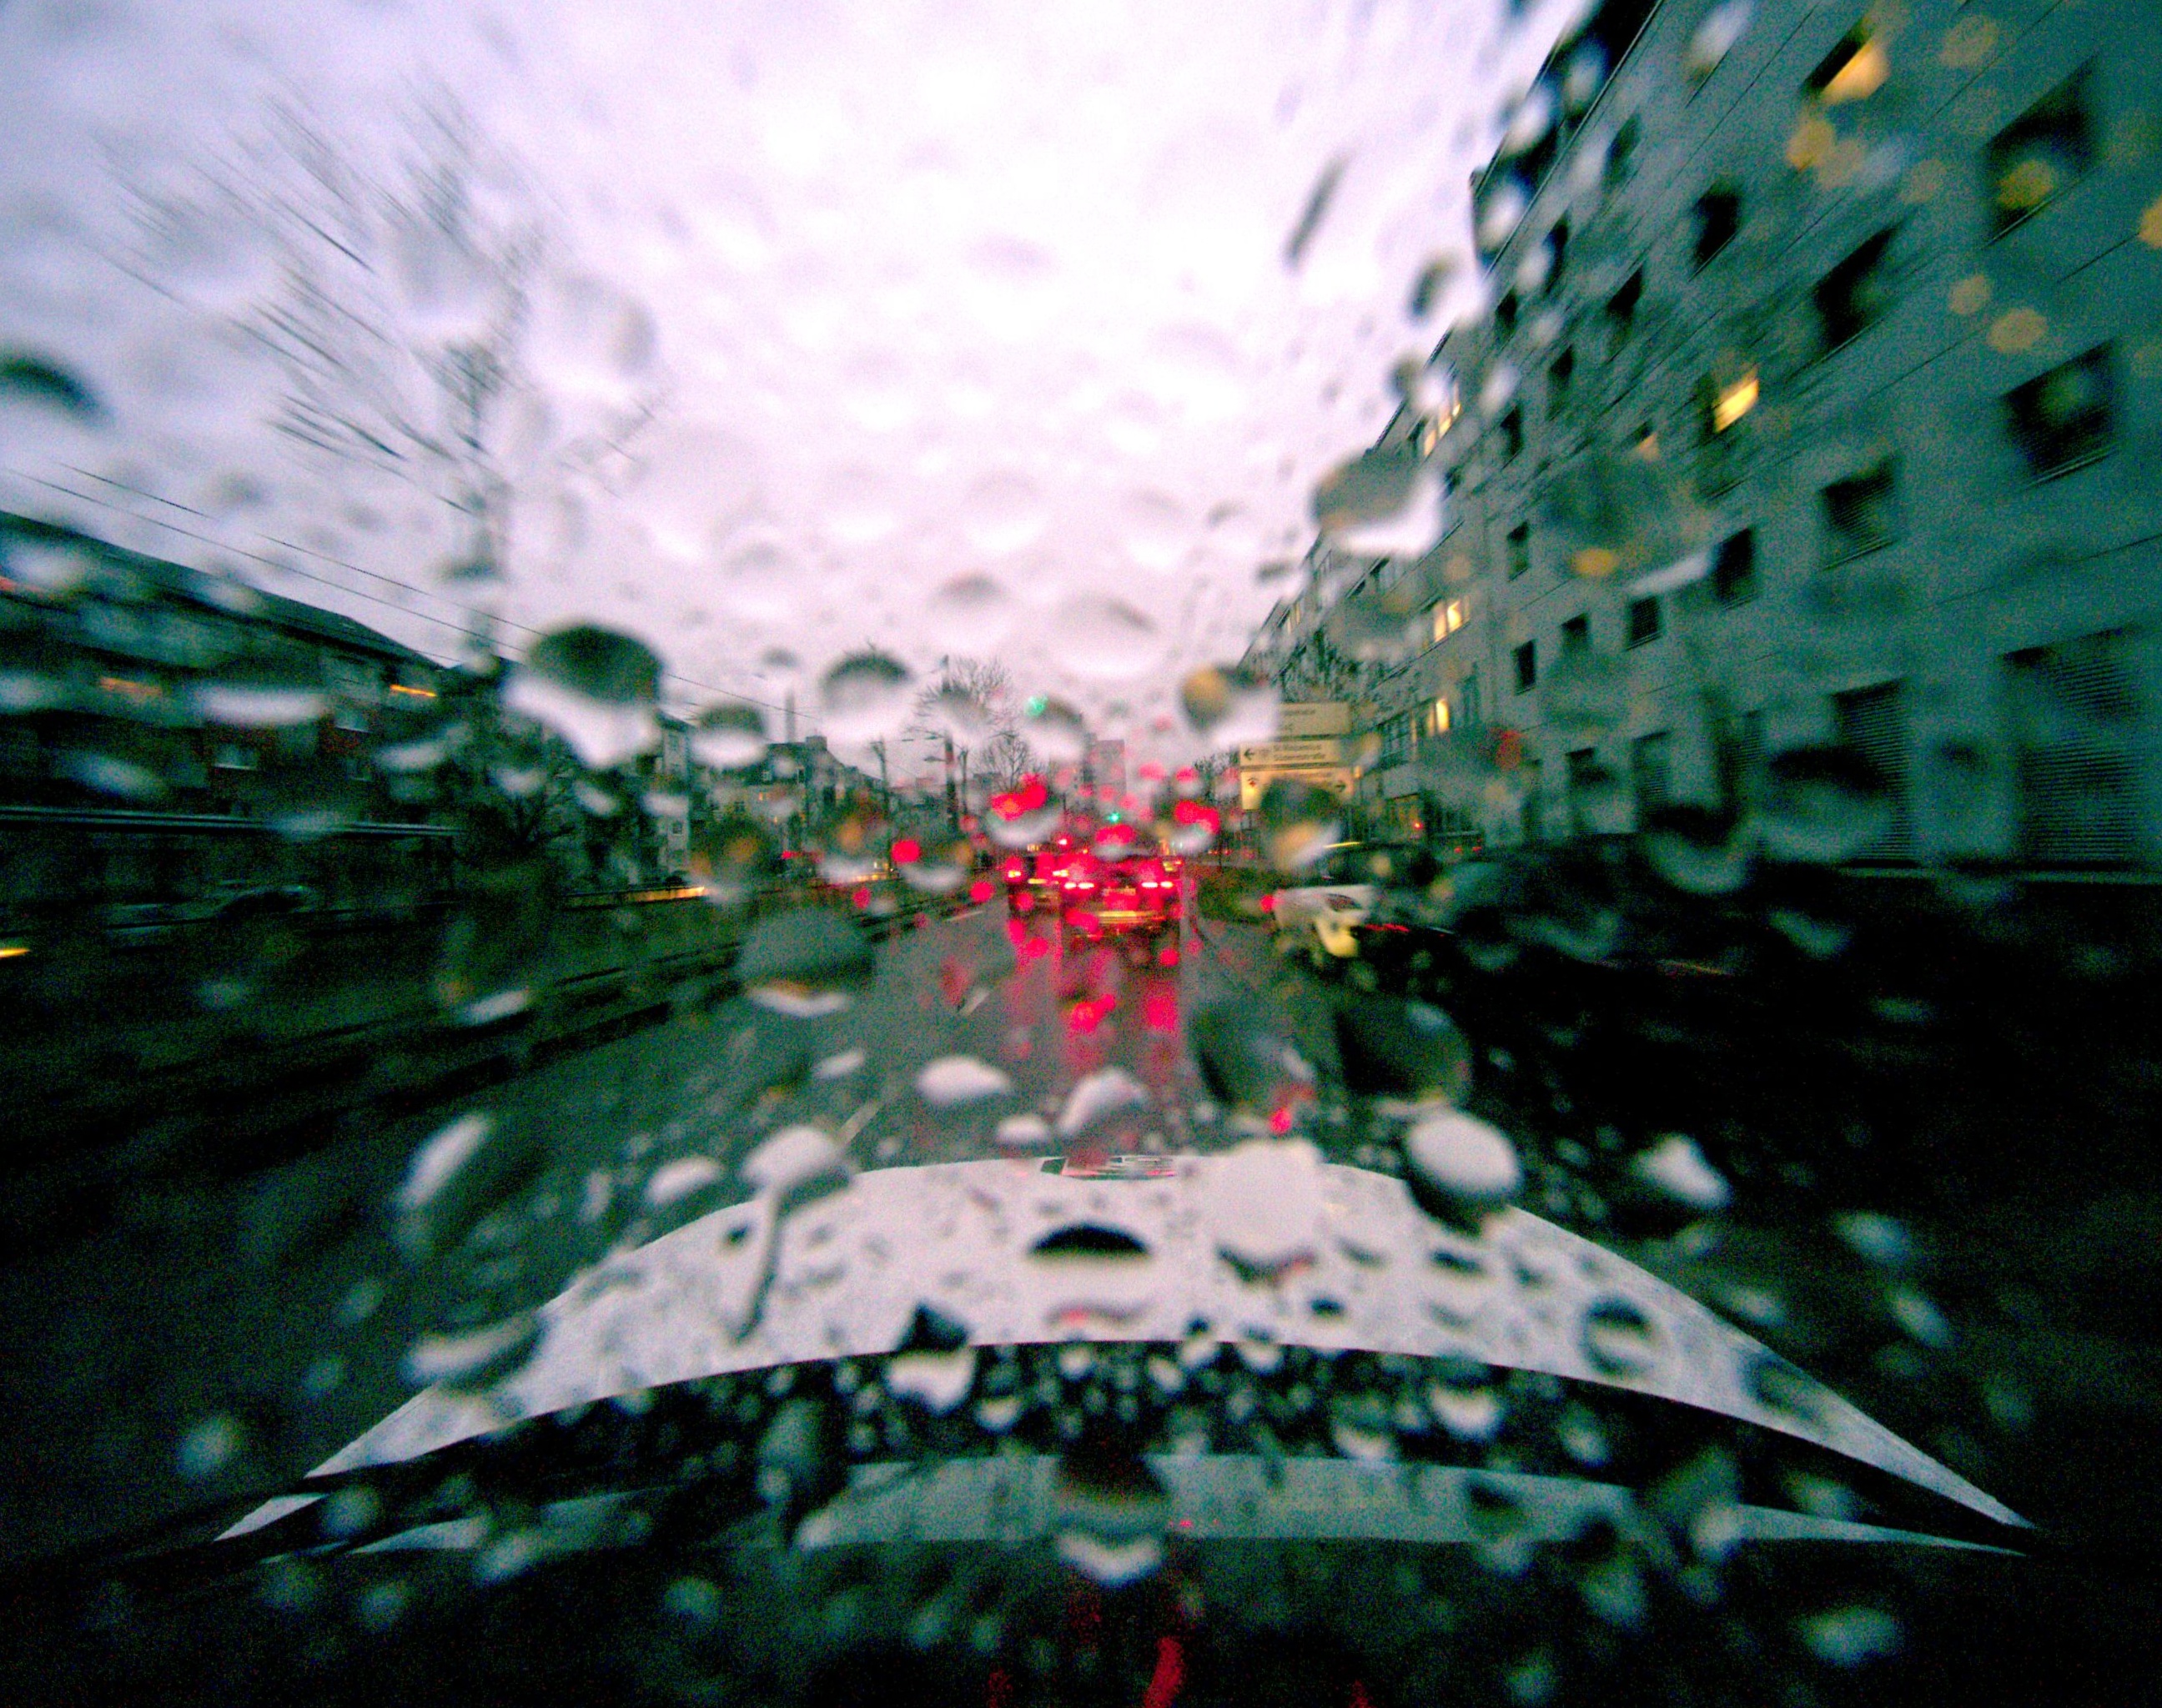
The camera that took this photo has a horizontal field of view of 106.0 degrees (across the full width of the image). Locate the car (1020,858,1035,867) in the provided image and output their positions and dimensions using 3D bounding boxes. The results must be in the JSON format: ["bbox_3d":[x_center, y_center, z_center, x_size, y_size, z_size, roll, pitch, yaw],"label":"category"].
[{"bbox_3d":[-8.417,1.364,129.215,1.750,1.497,3.765,-1,-1,6],"label":"car"}]

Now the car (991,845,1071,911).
[{"bbox_3d":[-1.370,0.683,24.006,1.986,1.712,4.325,-1,-1,1],"label":"car"}]

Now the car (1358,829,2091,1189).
[{"bbox_3d":[3.251,0.608,5.361,1.746,1.403,4.256,-1,0,5],"label":"car"}]

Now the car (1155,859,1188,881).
[{"bbox_3d":[5.900,1.023,53.582,1.879,1.353,4.104,-1,0,2],"label":"car"}]

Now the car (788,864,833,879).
[{"bbox_3d":[-26.432,1.713,79.584,3.789,1.366,1.697,-1,-1,-3],"label":"car"}]

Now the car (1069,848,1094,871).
[{"bbox_3d":[0.109,0.508,74.643,1.944,2.033,4.886,-2,0,3],"label":"car"}]

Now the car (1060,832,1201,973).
[{"bbox_3d":[0.701,0.731,13.670,1.987,1.976,4.067,-1,-1,0],"label":"car"}]

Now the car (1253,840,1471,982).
[{"bbox_3d":[3.346,0.599,10.373,1.585,1.394,3.488,-4,0,2],"label":"car"}]
